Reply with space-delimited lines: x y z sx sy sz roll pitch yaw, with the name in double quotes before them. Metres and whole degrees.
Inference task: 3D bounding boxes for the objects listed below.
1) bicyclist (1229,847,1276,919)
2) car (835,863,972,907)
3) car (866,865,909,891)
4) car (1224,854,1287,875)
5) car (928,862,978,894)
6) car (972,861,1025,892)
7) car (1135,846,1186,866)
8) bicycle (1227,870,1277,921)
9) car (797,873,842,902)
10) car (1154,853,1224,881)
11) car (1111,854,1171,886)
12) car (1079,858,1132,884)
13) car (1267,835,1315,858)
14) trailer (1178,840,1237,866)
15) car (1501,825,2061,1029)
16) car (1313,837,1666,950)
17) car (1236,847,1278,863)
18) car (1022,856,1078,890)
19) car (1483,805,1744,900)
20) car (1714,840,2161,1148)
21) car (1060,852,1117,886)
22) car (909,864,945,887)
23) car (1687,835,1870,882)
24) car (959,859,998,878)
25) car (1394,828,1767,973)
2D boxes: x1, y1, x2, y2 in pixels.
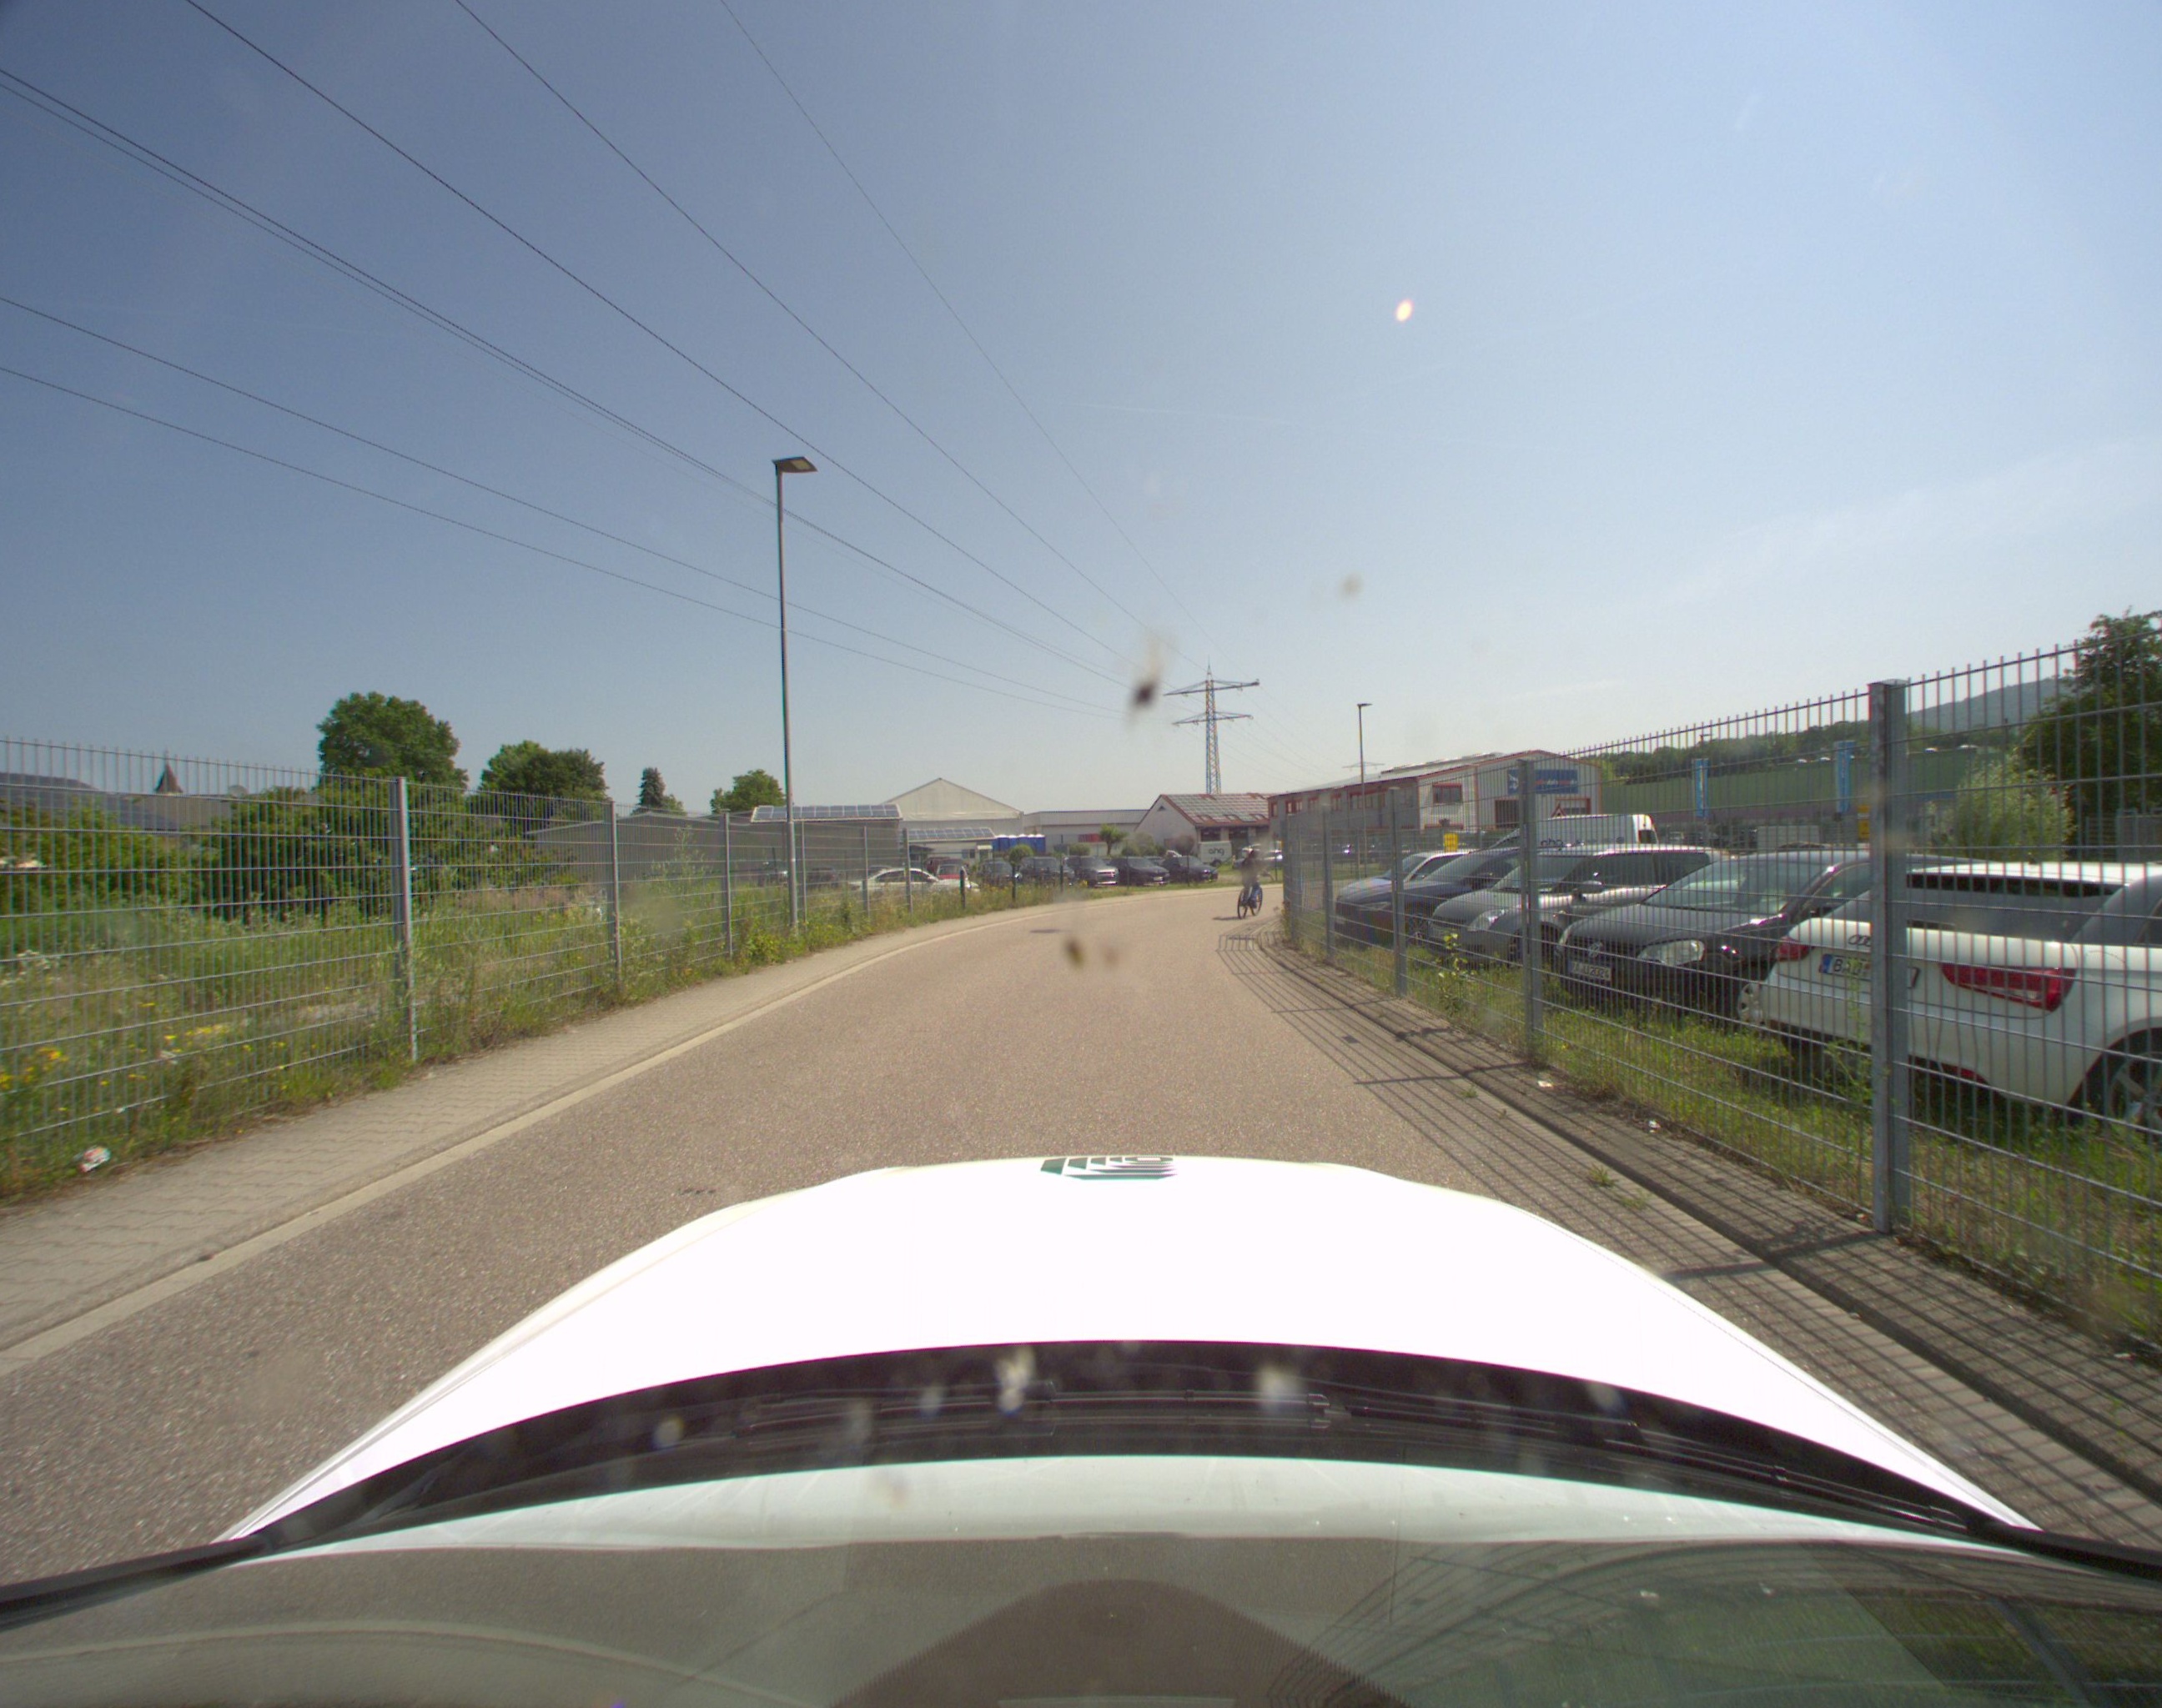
"bicyclist" 4.054 0.661 19.192 0.834 1.618 1.045 -1 0 27
"car" -6.277 1.061 28.774 4.560 1.307 1.857 -2 0 -18
"car" -10.433 1.258 43.774 1.869 1.298 3.417 -2 0 -20
"car" 11.937 0.725 55.770 4.141 1.261 1.227 -2 0 -19
"car" -6.327 1.145 40.062 1.868 1.453 3.420 -2 0 -18
"car" -4.186 1.089 40.955 1.868 1.433 3.626 -2 0 -18
"car" 6.928 0.142 71.006 3.996 1.598 1.866 -2 0 -17
"bicycle" 4.059 0.948 19.223 0.678 1.051 1.912 -1 1 27
"car" -14.050 1.767 43.673 1.872 1.414 3.412 -2 0 -25
"car" 5.873 0.695 44.767 2.001 1.435 4.636 -2 0 -18
"car" 3.113 0.807 42.930 1.868 1.554 3.747 -2 0 -18
"car" 1.415 0.979 48.671 1.998 1.420 3.979 -2 0 -16
"car" 19.433 -0.714 75.335 3.906 1.978 1.812 -2 0 -19
"trailer" 10.211 -0.063 66.020 4.438 1.945 1.712 -2 0 -4
"car" 6.007 0.573 7.264 3.644 1.478 1.748 -1 -2 -7
"car" 6.093 0.566 12.573 4.519 1.474 1.826 -2 0 2
"car" 17.660 0.111 81.931 3.906 1.516 1.498 -2 0 -19
"car" -1.615 0.943 41.447 1.868 1.561 3.674 -2 0 -18
"car" 13.570 -0.006 21.091 1.917 2.149 5.280 -2 0 -39
"car" 5.978 0.710 4.626 3.514 1.389 1.635 3 0 -2
"car" 0.354 0.775 42.593 1.868 1.644 3.611 -2 0 -18
"car" -10.503 1.446 55.310 1.868 1.433 4.576 -2 0 -18
"car" 20.861 0.145 24.458 1.917 1.277 3.883 -2 0 -39
"car" -7.151 0.974 56.466 1.868 1.175 4.576 -2 0 -18
"car" 5.952 0.515 9.998 3.529 1.502 1.710 -2 0 -2
